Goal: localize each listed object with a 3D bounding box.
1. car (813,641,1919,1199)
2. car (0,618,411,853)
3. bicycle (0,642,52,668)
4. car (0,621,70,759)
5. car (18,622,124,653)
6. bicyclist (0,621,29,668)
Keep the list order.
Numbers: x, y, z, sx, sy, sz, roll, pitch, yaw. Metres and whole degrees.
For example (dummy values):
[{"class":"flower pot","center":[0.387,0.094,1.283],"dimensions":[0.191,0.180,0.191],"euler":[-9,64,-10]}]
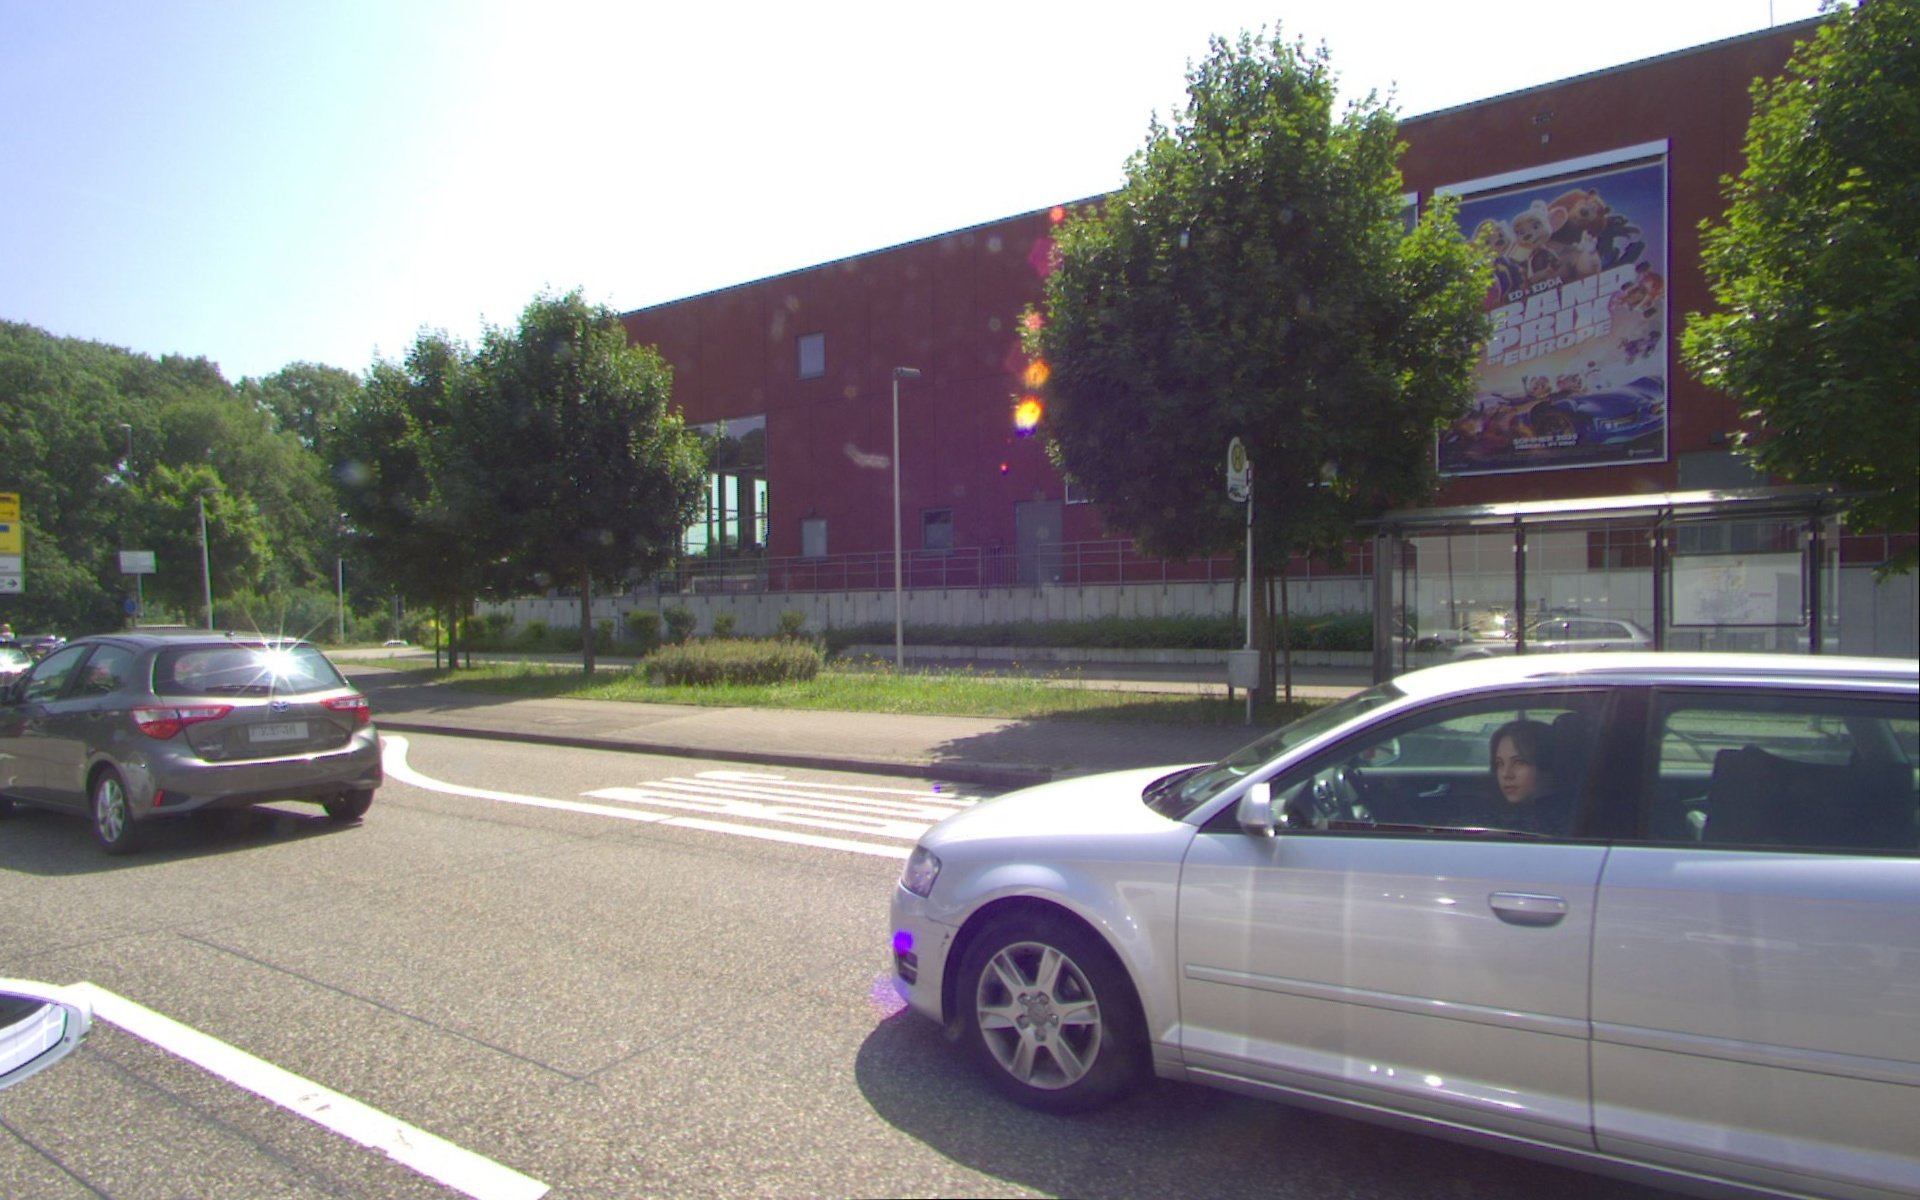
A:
[{"class":"car","center":[1.651,0.832,3.173],"dimensions":[4.031,1.379,1.710],"euler":[-1,-2,31]},{"class":"car","center":[-6.496,0.947,8.158],"dimensions":[4.031,1.496,1.711],"euler":[-1,-4,31]},{"class":"bicycle","center":[-29.910,1.730,31.570],"dimensions":[1.793,0.776,0.600],"euler":[-1,0,-13]},{"class":"car","center":[-13.062,1.081,12.567],"dimensions":[4.031,1.614,1.709],"euler":[-1,-1,31]},{"class":"car","center":[-46.886,1.938,52.864],"dimensions":[1.654,1.483,3.971],"euler":[-1,0,38]},{"class":"bicyclist","center":[-30.042,1.406,31.540],"dimensions":[0.814,1.458,0.598],"euler":[-1,1,-13]}]
